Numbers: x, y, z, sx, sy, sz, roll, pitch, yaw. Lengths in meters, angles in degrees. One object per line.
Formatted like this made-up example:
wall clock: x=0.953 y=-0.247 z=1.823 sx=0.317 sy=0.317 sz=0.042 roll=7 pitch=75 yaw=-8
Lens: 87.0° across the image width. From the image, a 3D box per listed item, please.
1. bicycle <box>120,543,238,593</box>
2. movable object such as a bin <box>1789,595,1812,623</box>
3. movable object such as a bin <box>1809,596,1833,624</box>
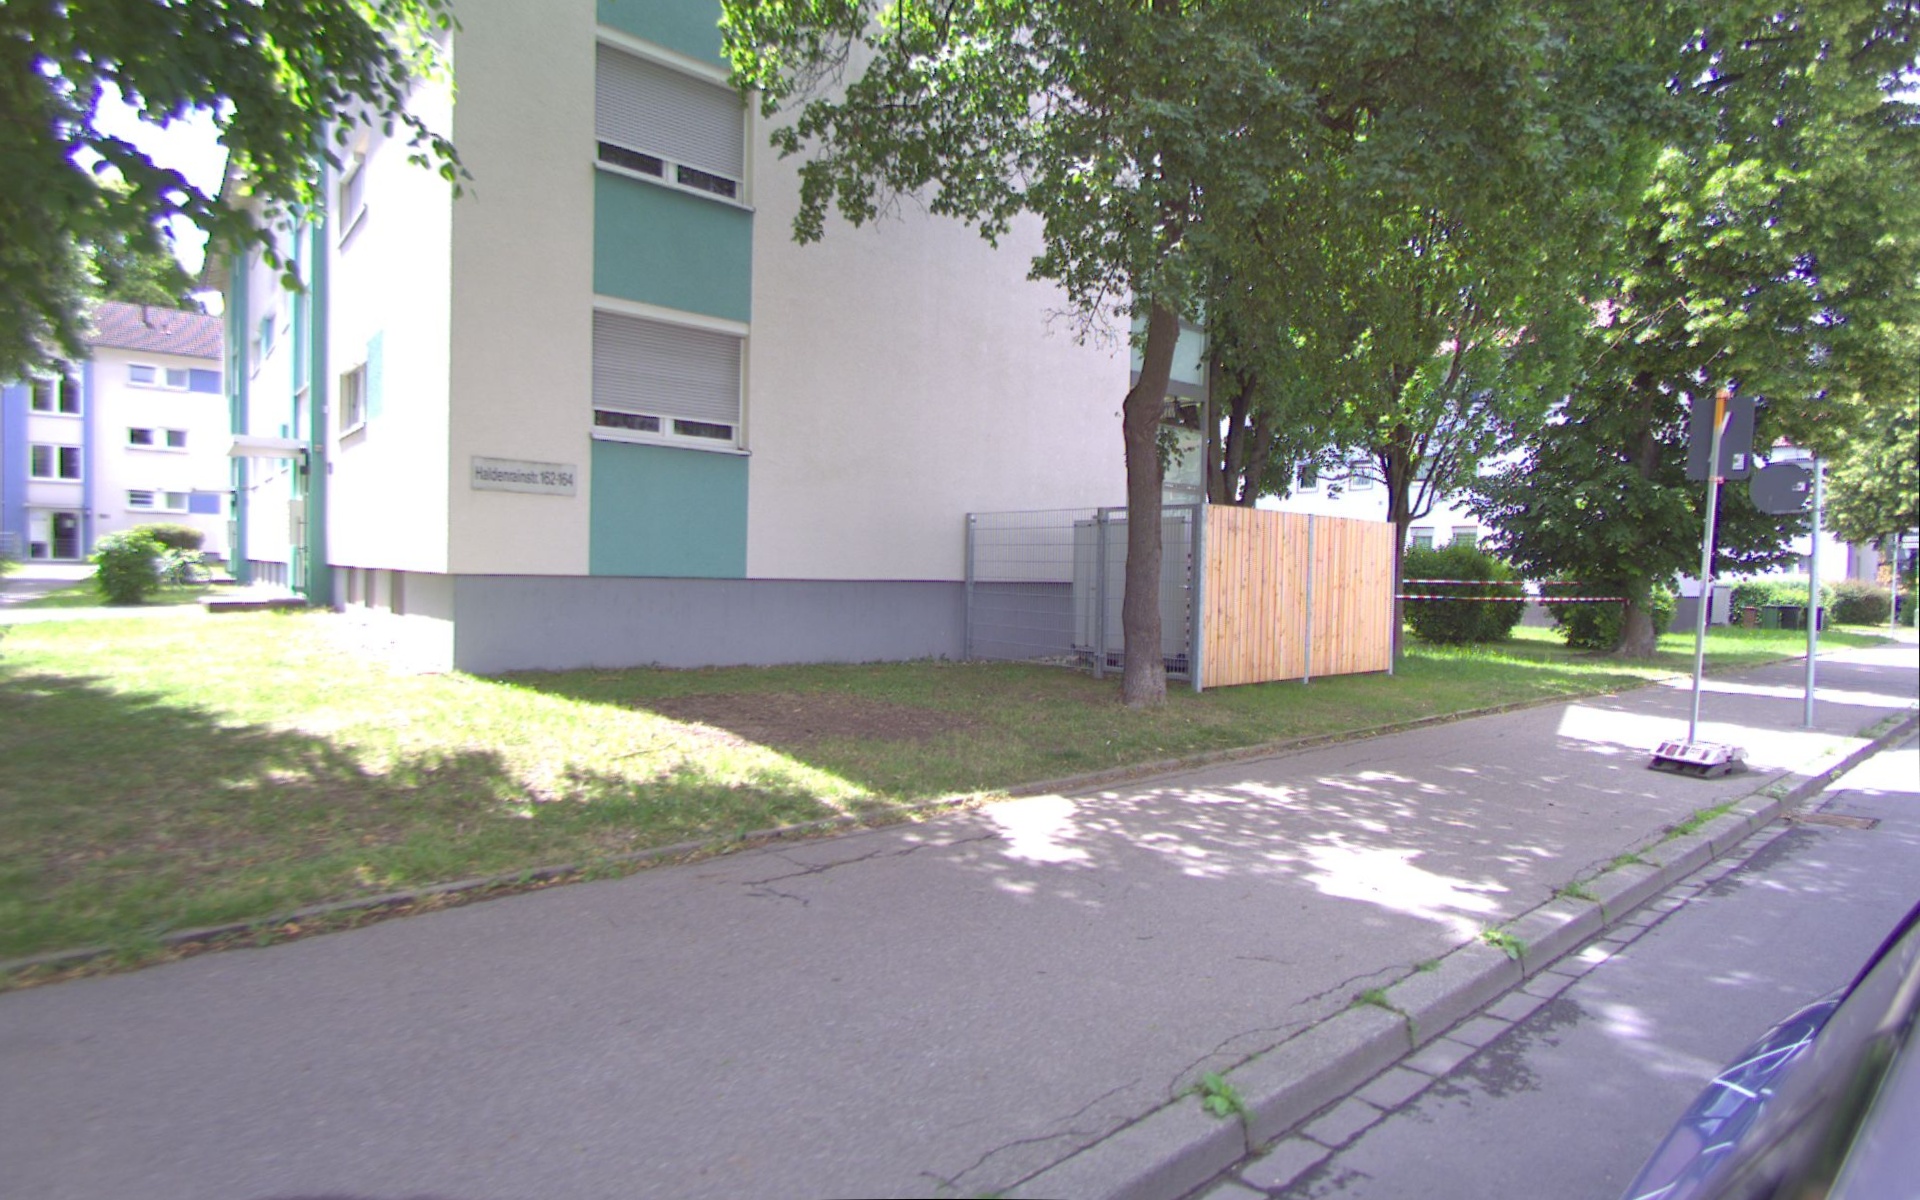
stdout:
bicycle: x=-15.949 y=-0.646 z=20.701 sx=1.882 sy=0.964 sz=0.529 roll=0 pitch=3 yaw=-41
movable object such as a bin: x=29.786 y=0.320 z=35.873 sx=0.541 sy=0.959 sz=0.501 roll=1 pitch=2 yaw=-41
movable object such as a bin: x=30.154 y=0.351 z=35.444 sx=0.570 sy=0.966 sz=0.497 roll=1 pitch=2 yaw=-41
